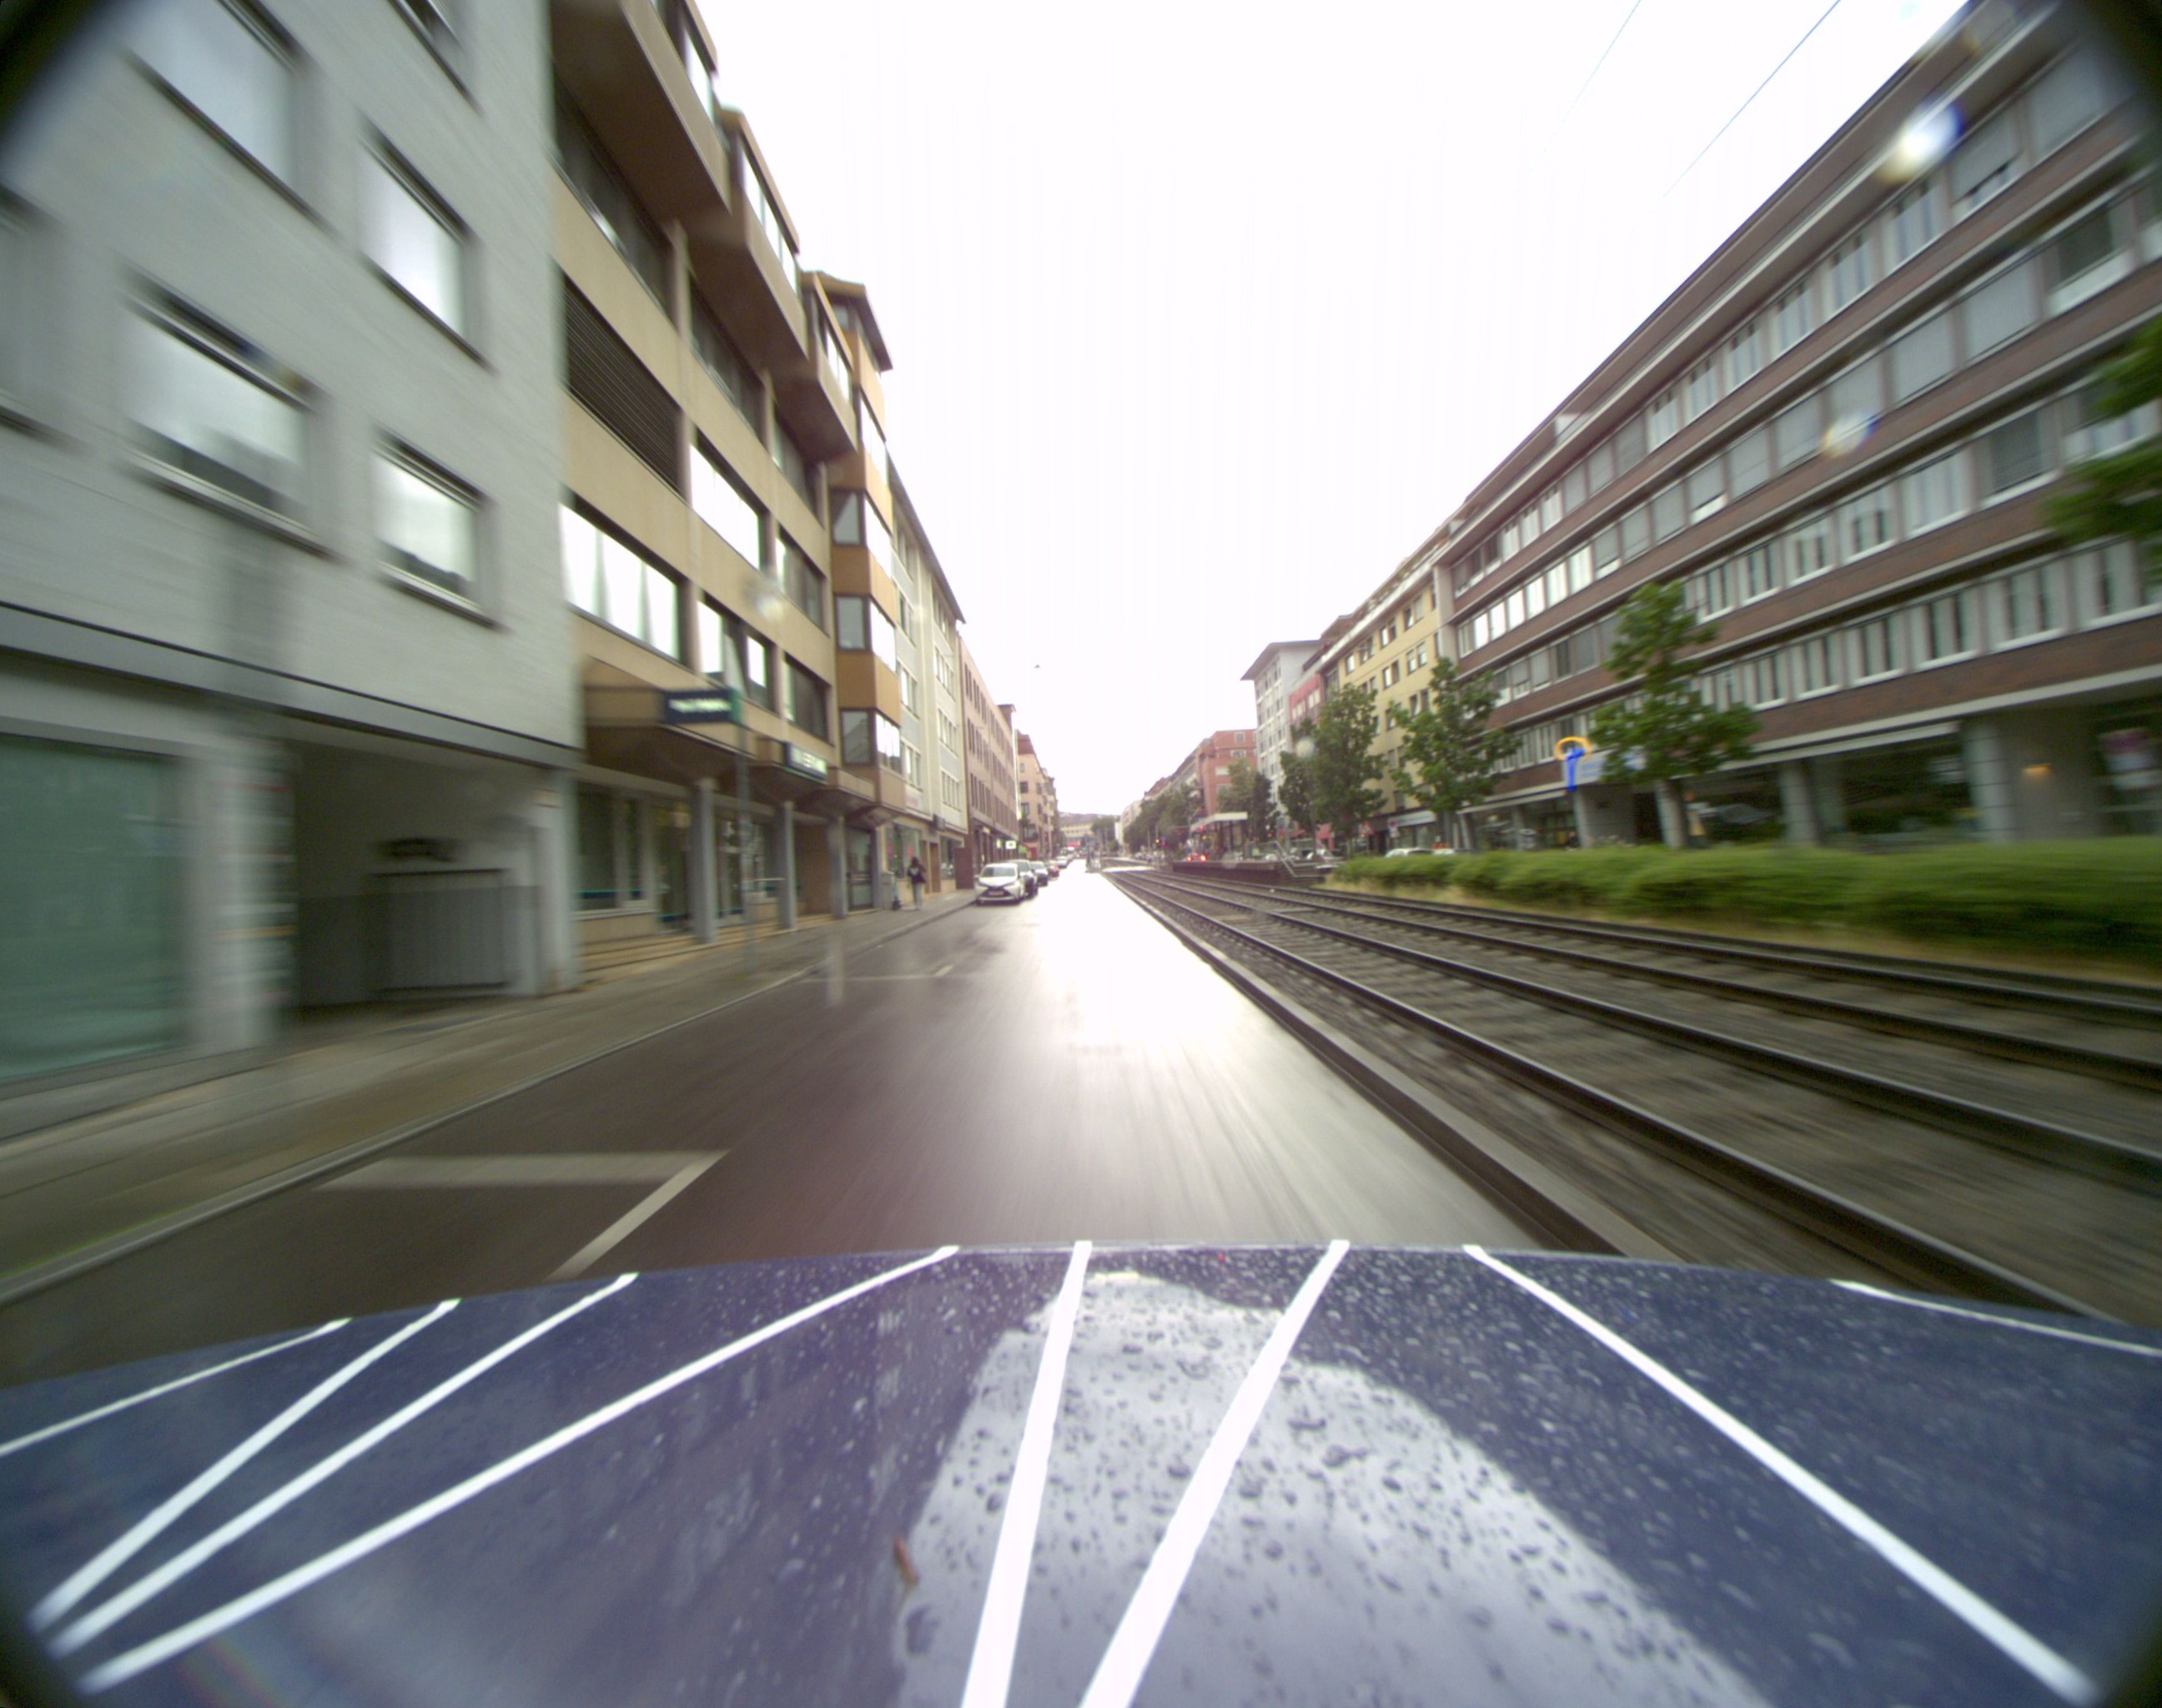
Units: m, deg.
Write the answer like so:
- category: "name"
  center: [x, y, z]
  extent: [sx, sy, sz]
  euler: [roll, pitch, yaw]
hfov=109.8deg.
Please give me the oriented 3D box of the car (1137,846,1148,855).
- category: "car"
  center: [13.960, -0.800, 171.573]
  extent: [1.999, 1.778, 3.999]
  euler: [-2, 0, -1]

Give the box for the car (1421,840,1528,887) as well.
- category: "car"
  center: [15.288, 0.338, 29.784]
  extent: [1.999, 1.652, 3.999]
  euler: [-2, 0, -1]

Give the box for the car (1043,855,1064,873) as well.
- category: "car"
  center: [-2.554, 0.897, 70.647]
  extent: [1.653, 1.583, 4.067]
  euler: [-2, 0, 1]

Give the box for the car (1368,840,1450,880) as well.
- category: "car"
  center: [15.097, 0.253, 35.232]
  extent: [1.999, 1.652, 3.999]
  euler: [-2, 0, -1]

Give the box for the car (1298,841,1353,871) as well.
- category: "car"
  center: [15.039, 0.119, 46.871]
  extent: [1.999, 1.652, 3.999]
  euler: [-2, 0, -1]

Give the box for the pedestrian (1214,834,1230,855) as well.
- category: "pedestrian"
  center: [9.708, -0.633, 52.330]
  extent: [0.958, 1.377, 0.637]
  euler: [-2, 1, -2]

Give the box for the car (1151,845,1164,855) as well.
- category: "car"
  center: [14.320, -0.765, 142.762]
  extent: [1.999, 1.652, 3.999]
  euler: [-2, 0, -1]

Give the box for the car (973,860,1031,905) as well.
- category: "car"
  center: [-2.924, 1.011, 28.885]
  extent: [1.653, 1.489, 4.067]
  euler: [-2, 0, 1]

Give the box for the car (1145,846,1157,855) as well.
- category: "car"
  center: [13.964, -0.709, 152.425]
  extent: [1.999, 1.652, 3.999]
  euler: [-2, 0, -1]

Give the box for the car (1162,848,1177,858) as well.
- category: "car"
  center: [15.211, -0.184, 131.190]
  extent: [1.999, 1.652, 3.999]
  euler: [-3, 0, -1]

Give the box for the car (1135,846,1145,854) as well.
- category: "car"
  center: [13.788, -0.831, 177.557]
  extent: [1.999, 1.778, 3.999]
  euler: [-2, 0, -1]

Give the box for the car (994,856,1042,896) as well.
- category: "car"
  center: [-2.709, 0.906, 33.354]
  extent: [1.653, 1.583, 4.067]
  euler: [-2, 0, 1]

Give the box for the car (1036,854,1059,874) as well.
- category: "car"
  center: [-2.756, 0.811, 62.931]
  extent: [1.653, 1.583, 4.067]
  euler: [-2, 0, 1]

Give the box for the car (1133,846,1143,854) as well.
- category: "car"
  center: [13.772, -0.873, 183.336]
  extent: [1.999, 1.778, 3.999]
  euler: [-2, 0, -1]

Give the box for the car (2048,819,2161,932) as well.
- category: "car"
  center: [15.055, 0.256, 9.142]
  extent: [1.653, 1.489, 4.067]
  euler: [-2, 0, 1]

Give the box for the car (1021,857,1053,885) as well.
- category: "car"
  center: [-2.725, 1.037, 47.406]
  extent: [1.653, 1.583, 4.067]
  euler: [-2, 0, 1]

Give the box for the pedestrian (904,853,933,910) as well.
- category: "pedestrian"
  center: [-5.011, 0.834, 23.467]
  extent: [0.640, 1.690, 0.883]
  euler: [-2, 1, 1]

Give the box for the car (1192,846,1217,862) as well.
- category: "car"
  center: [13.350, -0.031, 82.207]
  extent: [1.999, 1.652, 3.999]
  euler: [-2, 0, -1]

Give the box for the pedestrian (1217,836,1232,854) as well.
- category: "pedestrian"
  center: [9.776, -0.610, 51.676]
  extent: [0.815, 1.248, 0.637]
  euler: [-2, 1, -2]

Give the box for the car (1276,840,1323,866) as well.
- category: "car"
  center: [15.032, -0.050, 52.404]
  extent: [1.999, 1.652, 3.999]
  euler: [-2, 0, -1]

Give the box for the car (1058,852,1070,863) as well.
- category: "car"
  center: [-2.687, 0.548, 118.315]
  extent: [1.653, 1.583, 4.067]
  euler: [-2, 0, 1]

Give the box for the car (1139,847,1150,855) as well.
- category: "car"
  center: [13.957, -0.630, 166.446]
  extent: [1.999, 1.778, 4.163]
  euler: [-2, 0, -1]

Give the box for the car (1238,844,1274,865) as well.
- category: "car"
  center: [14.537, 0.053, 63.344]
  extent: [1.999, 1.652, 3.999]
  euler: [-2, 0, -1]

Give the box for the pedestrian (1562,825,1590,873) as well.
- category: "pedestrian"
  center: [19.795, -0.200, 30.390]
  extent: [0.576, 1.858, 0.743]
  euler: [-2, 1, 1]
